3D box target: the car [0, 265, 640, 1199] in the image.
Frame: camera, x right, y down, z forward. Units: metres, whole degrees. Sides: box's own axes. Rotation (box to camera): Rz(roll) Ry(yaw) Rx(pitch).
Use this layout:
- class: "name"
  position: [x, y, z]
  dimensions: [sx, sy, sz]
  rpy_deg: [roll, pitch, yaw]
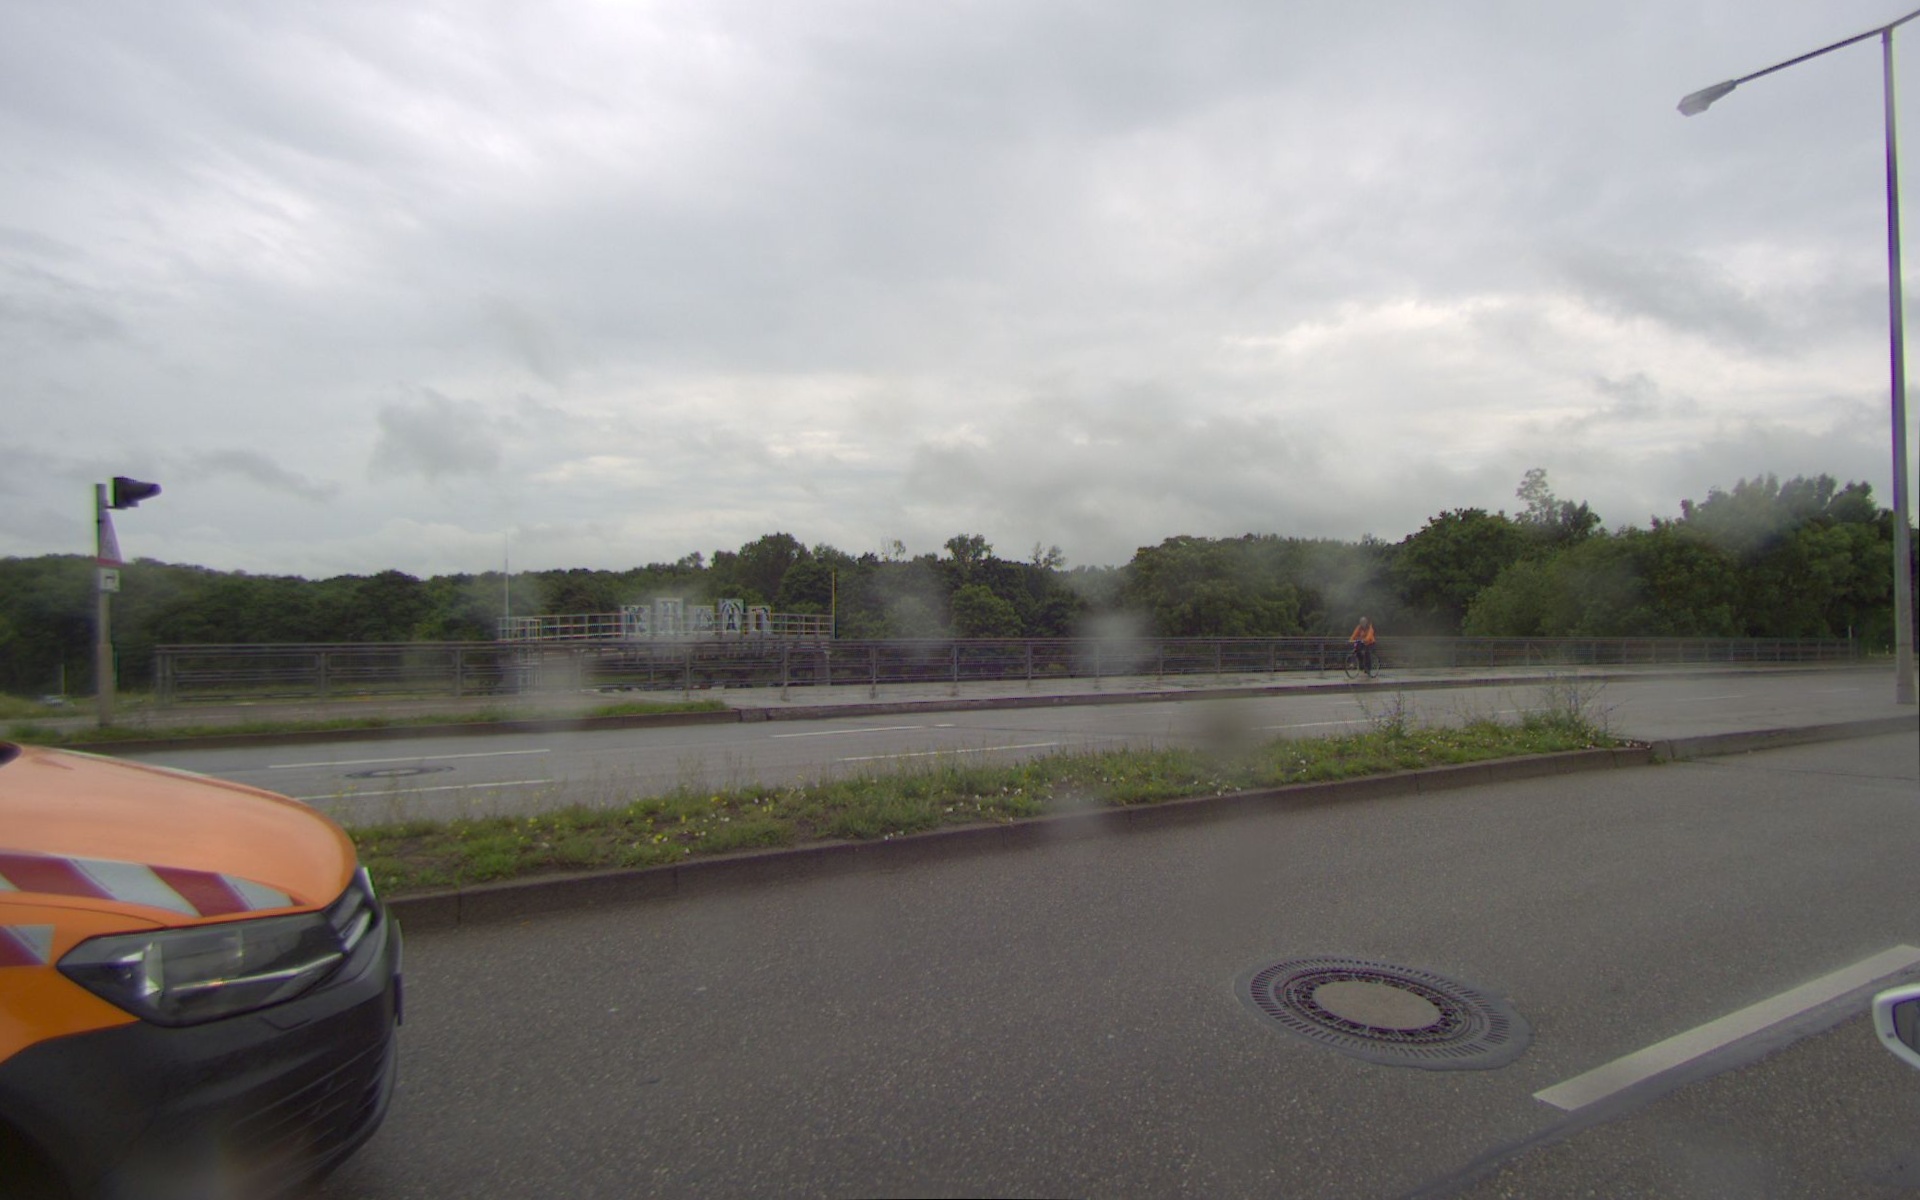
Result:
- class: "car"
  position: [-3.160, 0.481, 1.635]
  dimensions: [4.791, 2.046, 1.727]
  rpy_deg: [1, 0, -30]

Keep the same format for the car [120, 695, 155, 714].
- class: "car"
  position: [-93.050, 11.829, 113.638]
  dimensions: [3.932, 1.754, 1.994]
  rpy_deg: [0, 0, 33]

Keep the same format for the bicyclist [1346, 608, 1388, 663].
- class: "bicyclist"
  position: [11.552, 0.992, 28.499]
  dimensions: [0.991, 1.520, 0.616]
  rpy_deg: [1, 0, -30]

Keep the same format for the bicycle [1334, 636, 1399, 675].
- class: "bicycle"
  position: [11.538, 1.562, 28.501]
  dimensions: [1.977, 1.047, 0.606]
  rpy_deg: [1, 0, -31]

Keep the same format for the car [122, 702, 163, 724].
- class: "car"
  position: [-78.591, 10.856, 96.531]
  dimensions: [3.932, 1.754, 1.994]
  rpy_deg: [0, 0, 33]

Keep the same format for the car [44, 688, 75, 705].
- class: "car"
  position: [-113.758, 12.189, 126.827]
  dimensions: [3.932, 1.754, 1.994]
  rpy_deg: [0, 0, 33]
